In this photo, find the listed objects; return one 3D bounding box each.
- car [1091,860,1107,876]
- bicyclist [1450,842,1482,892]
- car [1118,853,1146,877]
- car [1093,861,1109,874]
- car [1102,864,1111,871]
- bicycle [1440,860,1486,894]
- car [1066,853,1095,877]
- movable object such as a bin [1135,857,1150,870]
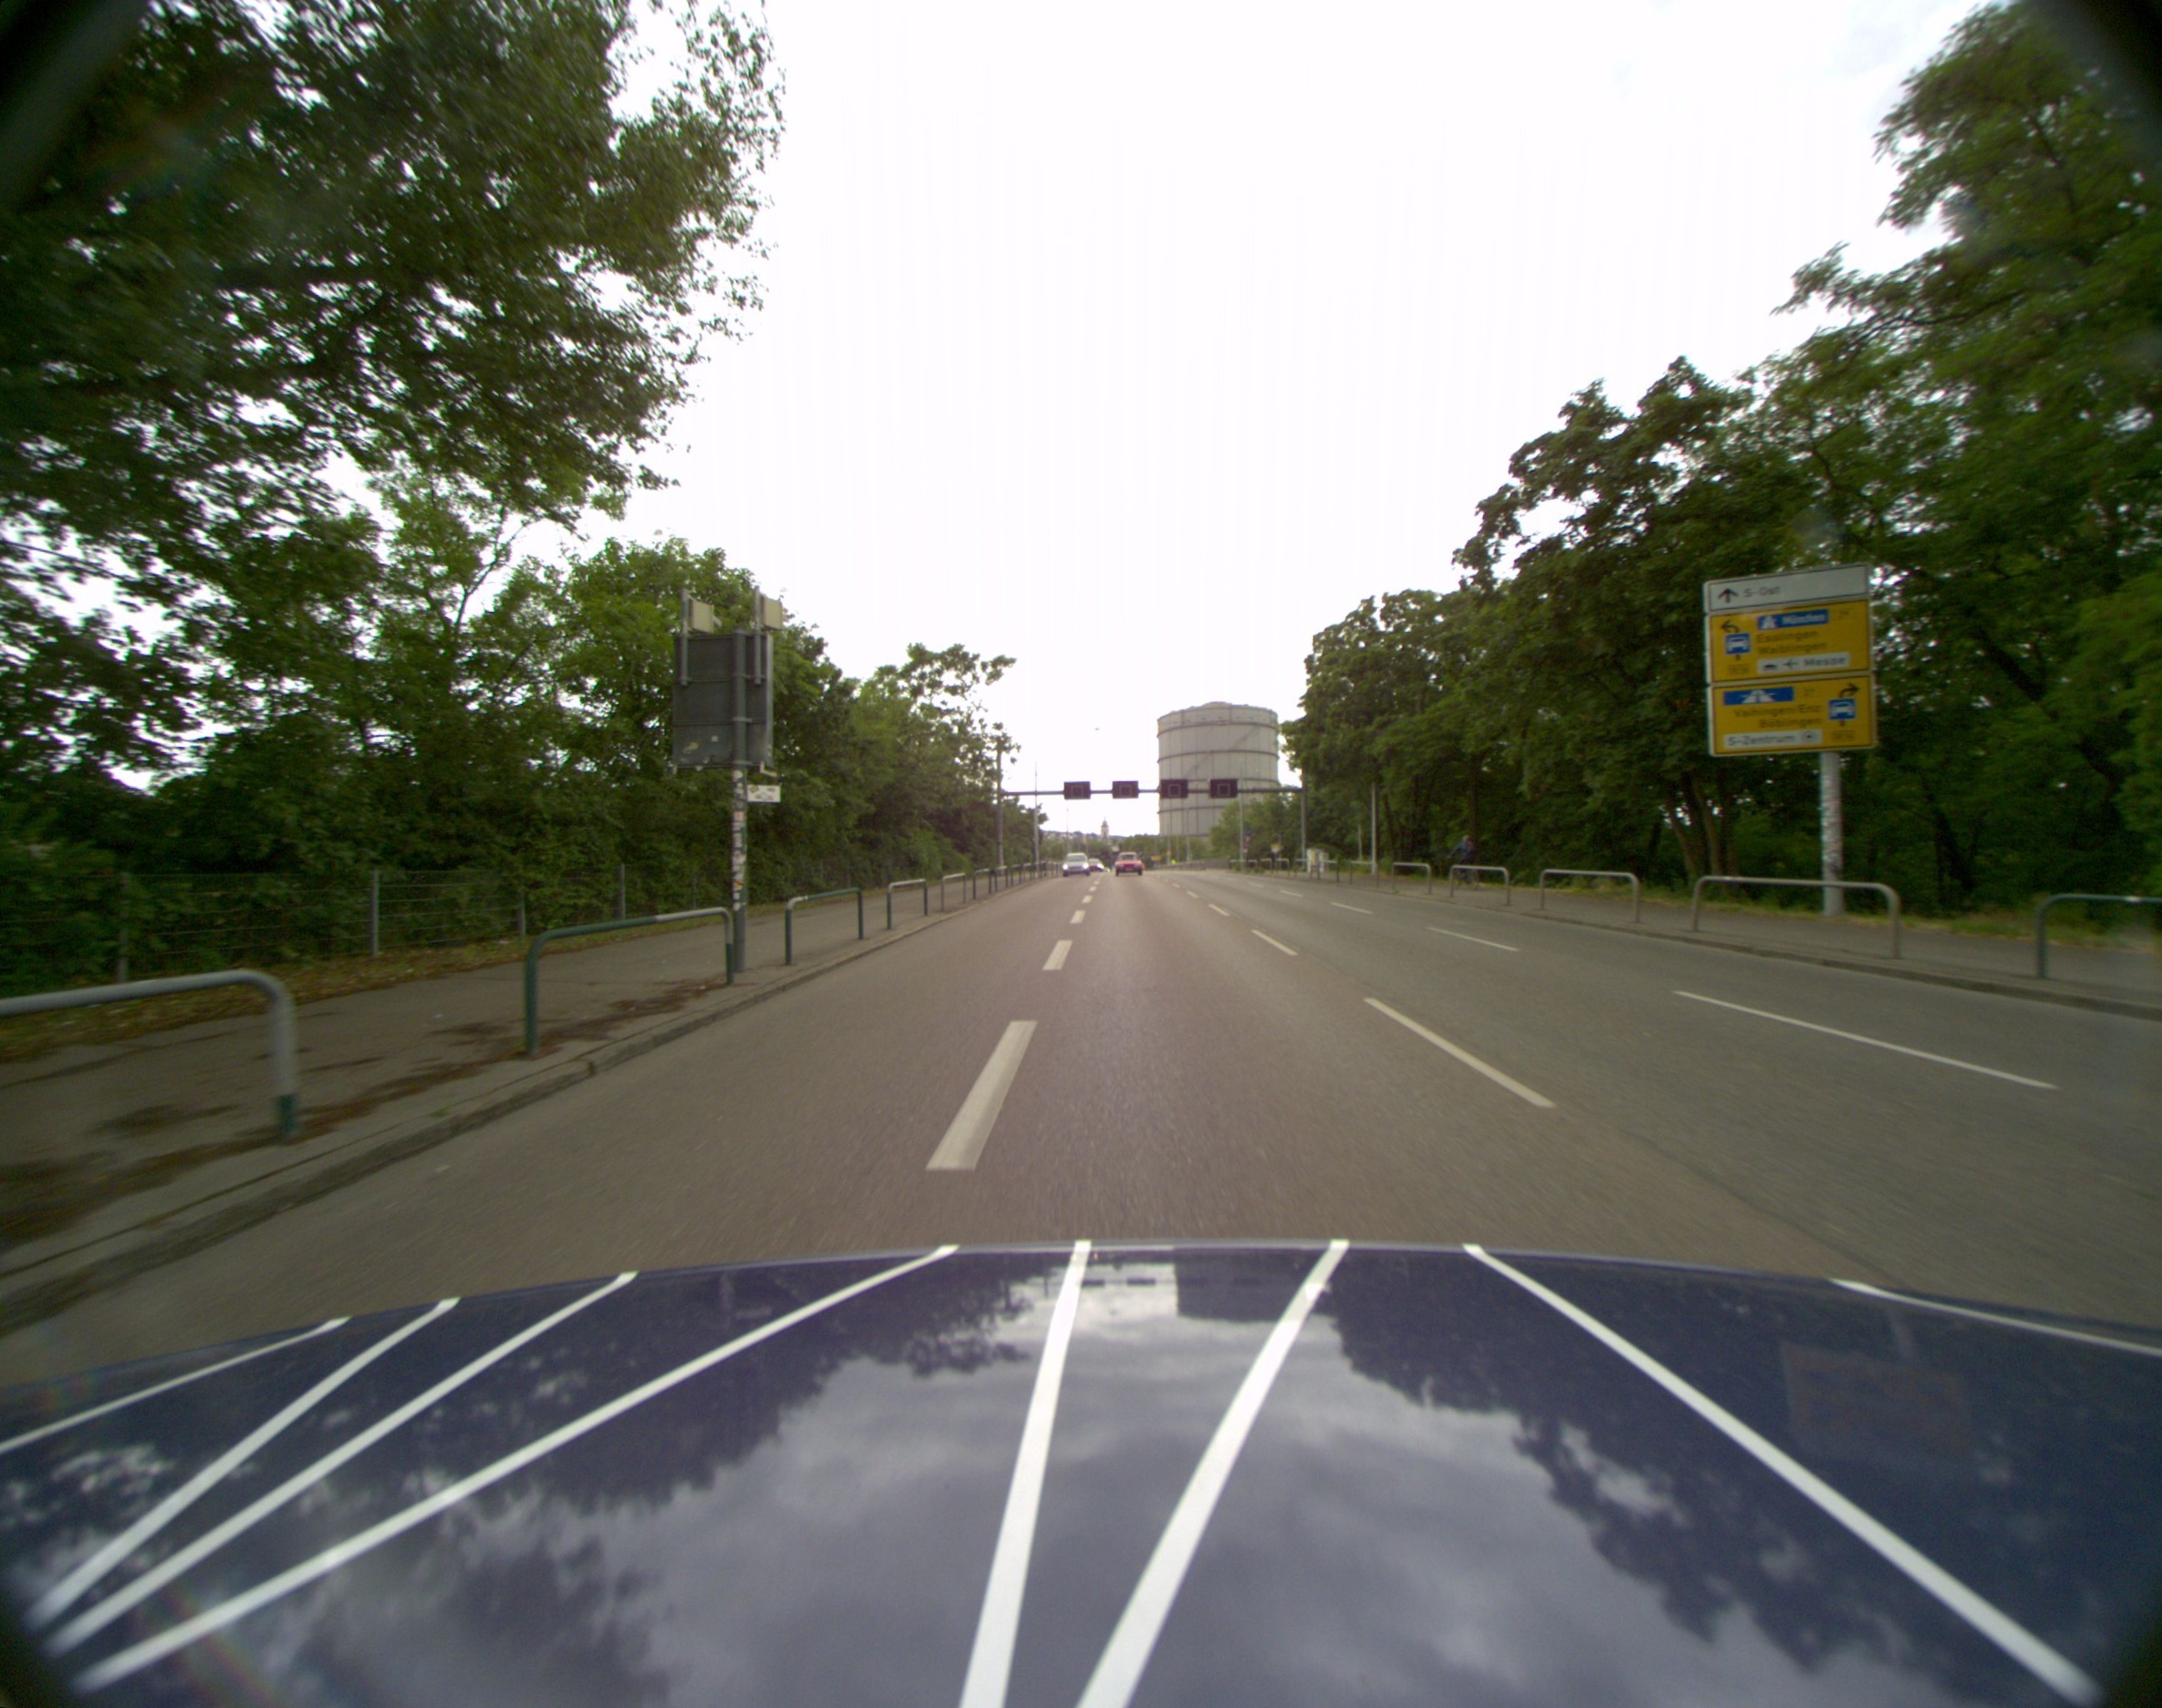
[{"bbox_3d":[2.089,1.626,87.611,1.776,1.696,4.001,-2,0,2],"label":"car"},{"bbox_3d":[11.995,0.395,23.699,0.516,1.507,0.984,0,0,1],"label":"bicyclist"},{"bbox_3d":[3.175,0.671,48.048,1.696,1.434,4.001,0,-1,2],"label":"car"},{"bbox_3d":[2.839,1.827,105.653,1.998,1.775,4.002,-1,-1,4],"label":"car"},{"bbox_3d":[6.817,3.517,200.125,1.998,1.792,4.002,-3,0,6],"label":"car"},{"bbox_3d":[11.998,0.702,23.946,0.485,0.996,2.002,0,0,1],"label":"bicycle"},{"bbox_3d":[-0.016,0.746,52.281,1.771,1.565,4.001,-1,0,3],"label":"car"},{"bbox_3d":[16.331,2.559,202.554,3.463,3.303,9.362,0,-1,3],"label":"movable object such as a bin"}]
